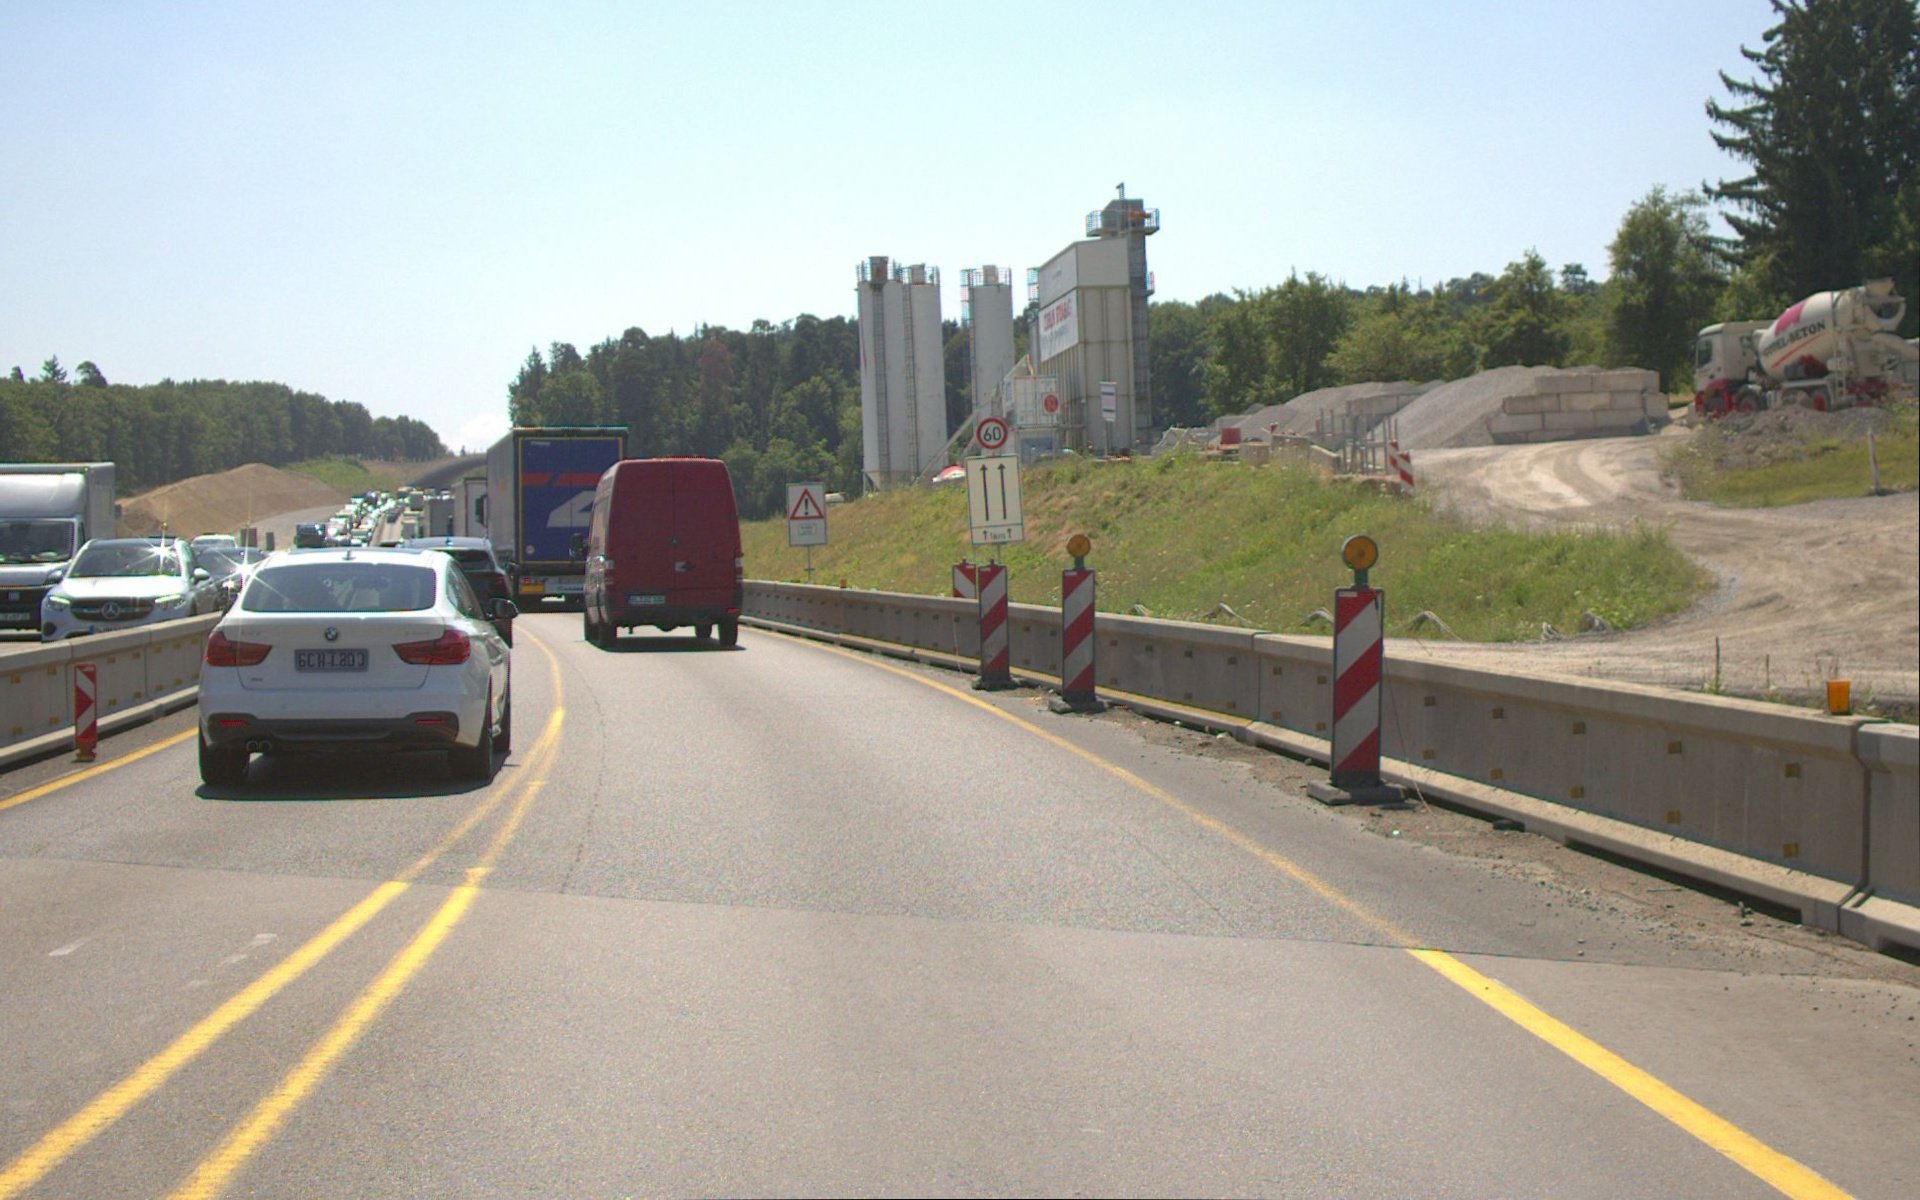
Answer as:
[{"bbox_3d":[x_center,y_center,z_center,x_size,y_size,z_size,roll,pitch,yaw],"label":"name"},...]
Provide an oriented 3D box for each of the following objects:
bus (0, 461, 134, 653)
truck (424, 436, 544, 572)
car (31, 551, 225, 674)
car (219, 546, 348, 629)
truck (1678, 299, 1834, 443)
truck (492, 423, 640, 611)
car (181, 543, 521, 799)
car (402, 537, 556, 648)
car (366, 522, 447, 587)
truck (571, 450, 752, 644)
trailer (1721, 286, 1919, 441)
[{"bbox_3d":[-16.110,-0.752,59.893,2.349,3.115,7.230,-2,1,-6],"label":"bus"},{"bbox_3d":[-17.217,-3.438,124.954,3.683,4.675,9.754,-2,1,-5],"label":"truck"},{"bbox_3d":[-10.909,0.125,45.348,1.795,1.470,4.778,-2,1,-5],"label":"car"},{"bbox_3d":[-12.310,-0.258,62.745,1.808,1.409,4.400,-2,1,-5],"label":"car"},{"bbox_3d":[23.901,-6.845,103.333,2.744,4.081,4.101,-2,1,-18],"label":"truck"},{"bbox_3d":[-9.389,-1.932,81.120,3.015,4.138,8.274,-2,1,-9],"label":"truck"},{"bbox_3d":[-4.001,0.387,23.314,1.795,1.529,5.074,0,1,-5],"label":"car"},{"bbox_3d":[-7.025,-0.140,50.524,1.795,1.529,3.932,-1,1,-2],"label":"car"},{"bbox_3d":[-14.108,-1.173,87.803,1.801,1.574,4.001,-2,1,-6],"label":"car"},{"bbox_3d":[-4.480,-0.781,50.694,2.111,2.624,6.486,-2,1,-9],"label":"truck"},{"bbox_3d":[25.091,-6.804,99.735,2.755,4.100,6.748,-2,1,-18],"label":"trailer"}]
